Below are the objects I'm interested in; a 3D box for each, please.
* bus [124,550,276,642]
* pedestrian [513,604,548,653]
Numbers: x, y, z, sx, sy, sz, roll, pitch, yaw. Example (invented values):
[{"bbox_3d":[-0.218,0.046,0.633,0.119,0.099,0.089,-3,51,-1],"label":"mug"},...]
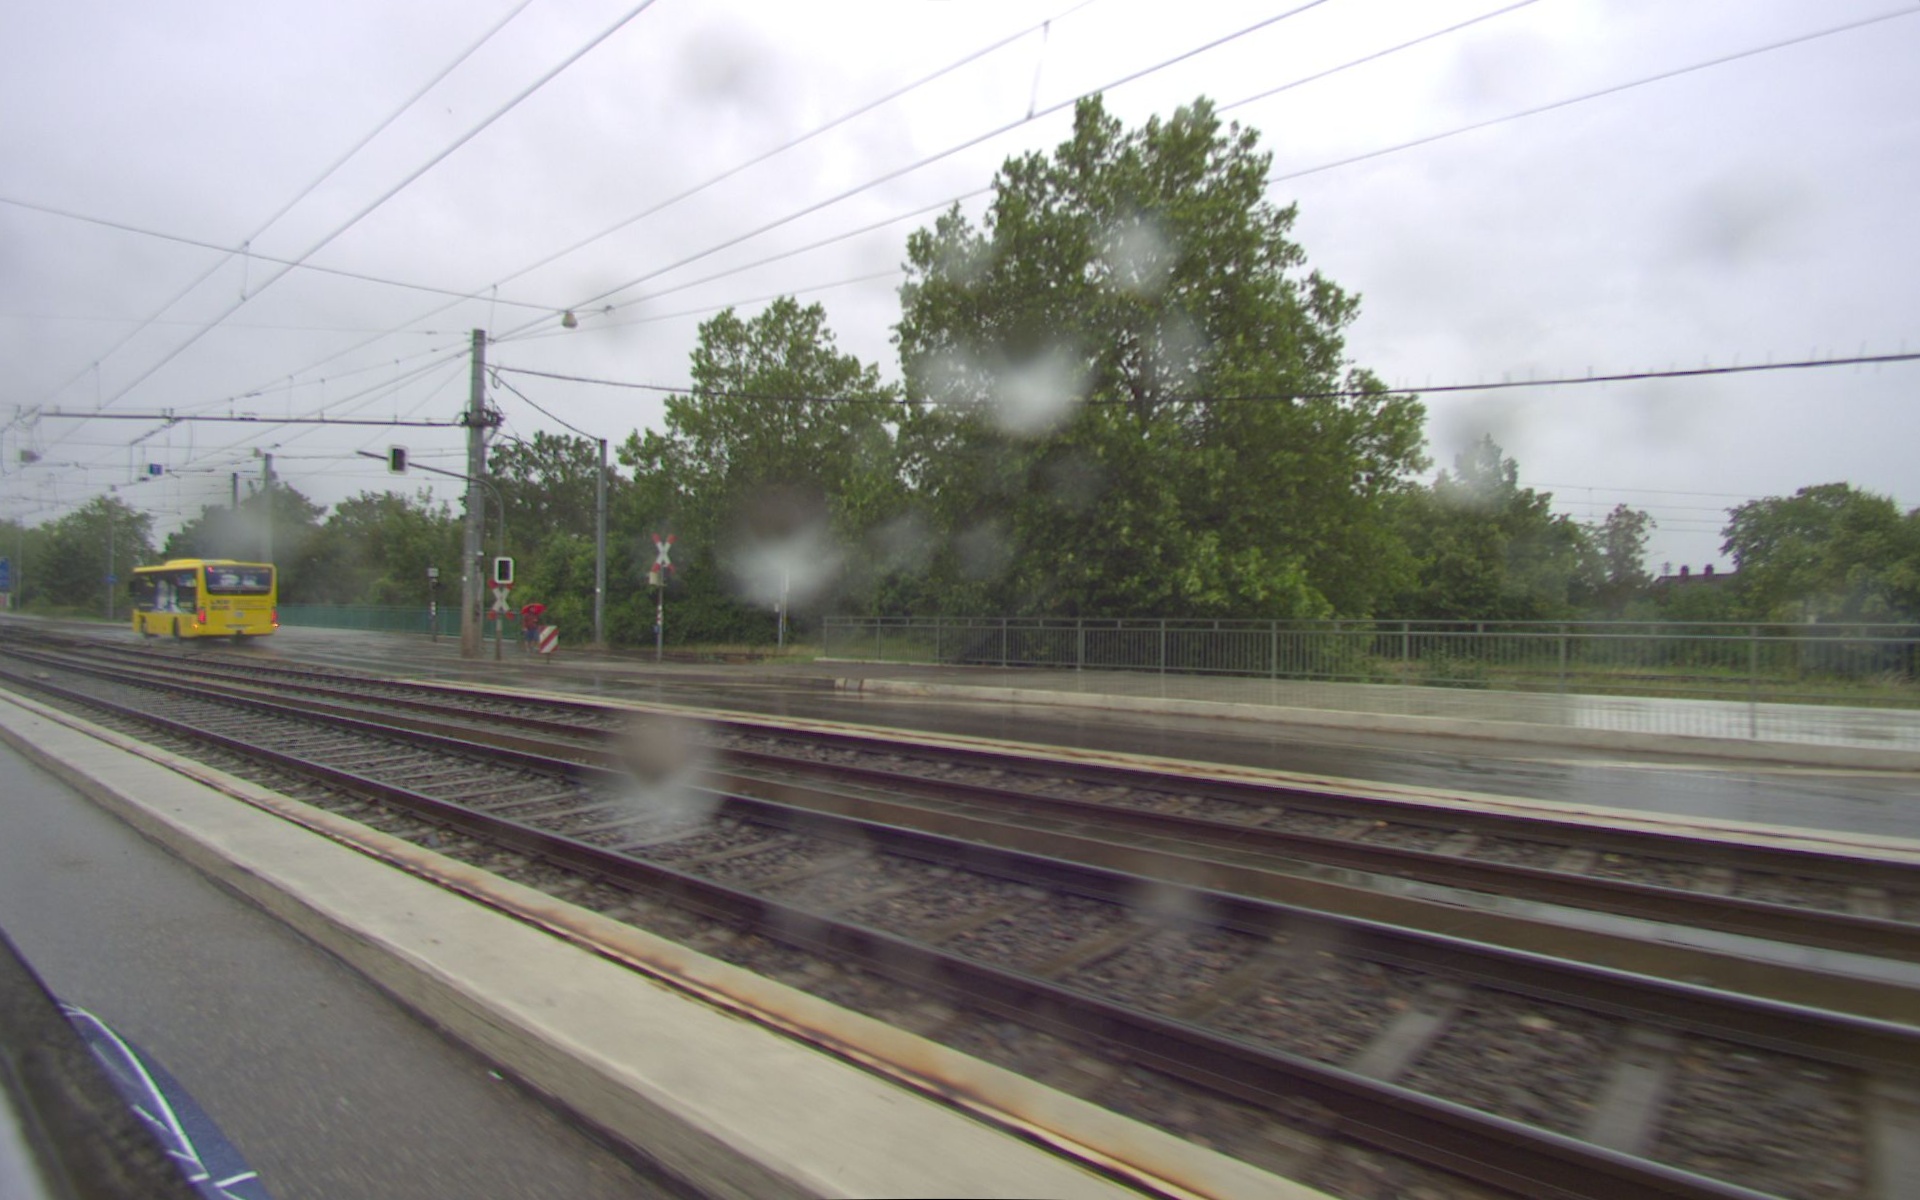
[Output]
[{"bbox_3d":[-31.511,0.027,41.714,10.987,3.367,2.680,-2,-3,41],"label":"bus"},{"bbox_3d":[-16.662,1.081,39.282,1.042,1.832,0.856,1,2,39],"label":"pedestrian"}]
